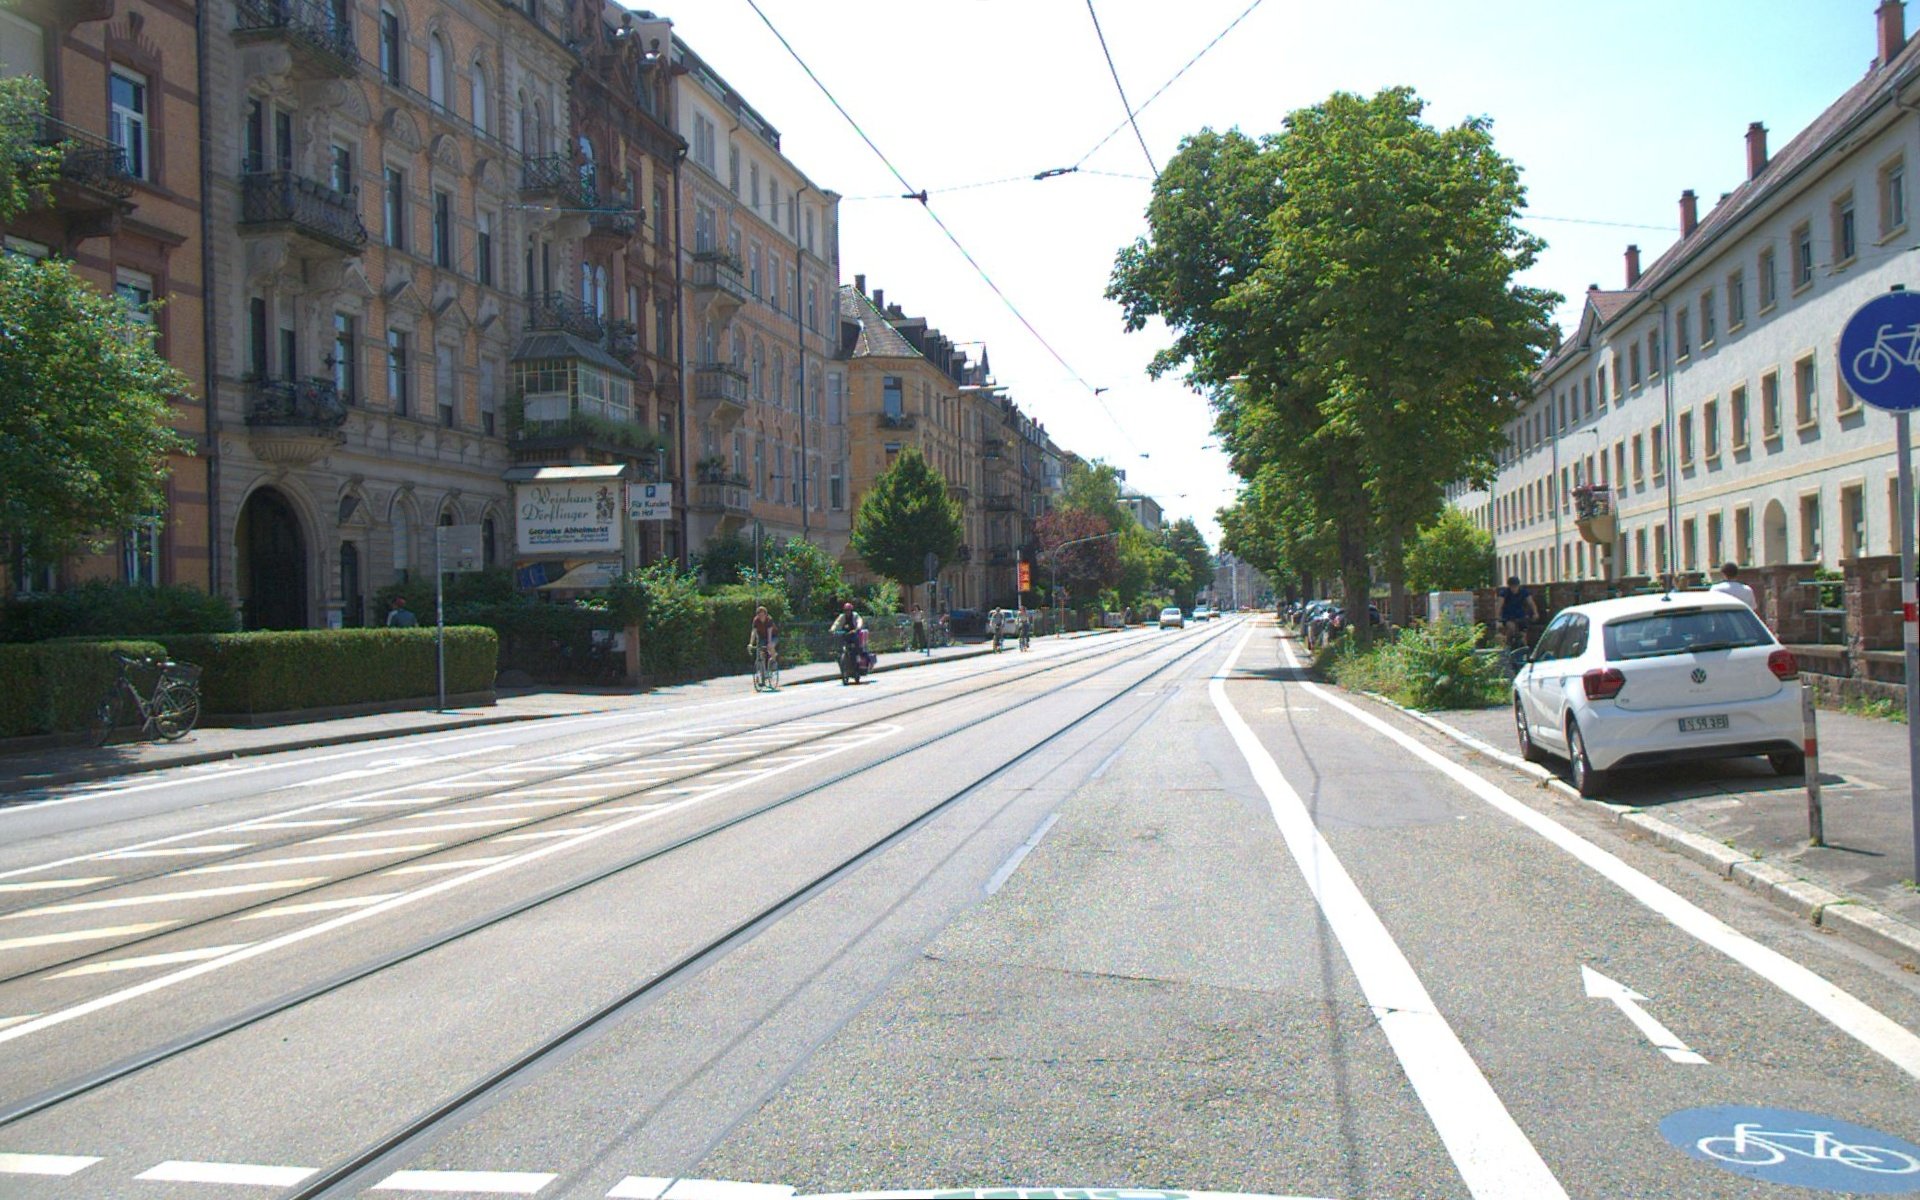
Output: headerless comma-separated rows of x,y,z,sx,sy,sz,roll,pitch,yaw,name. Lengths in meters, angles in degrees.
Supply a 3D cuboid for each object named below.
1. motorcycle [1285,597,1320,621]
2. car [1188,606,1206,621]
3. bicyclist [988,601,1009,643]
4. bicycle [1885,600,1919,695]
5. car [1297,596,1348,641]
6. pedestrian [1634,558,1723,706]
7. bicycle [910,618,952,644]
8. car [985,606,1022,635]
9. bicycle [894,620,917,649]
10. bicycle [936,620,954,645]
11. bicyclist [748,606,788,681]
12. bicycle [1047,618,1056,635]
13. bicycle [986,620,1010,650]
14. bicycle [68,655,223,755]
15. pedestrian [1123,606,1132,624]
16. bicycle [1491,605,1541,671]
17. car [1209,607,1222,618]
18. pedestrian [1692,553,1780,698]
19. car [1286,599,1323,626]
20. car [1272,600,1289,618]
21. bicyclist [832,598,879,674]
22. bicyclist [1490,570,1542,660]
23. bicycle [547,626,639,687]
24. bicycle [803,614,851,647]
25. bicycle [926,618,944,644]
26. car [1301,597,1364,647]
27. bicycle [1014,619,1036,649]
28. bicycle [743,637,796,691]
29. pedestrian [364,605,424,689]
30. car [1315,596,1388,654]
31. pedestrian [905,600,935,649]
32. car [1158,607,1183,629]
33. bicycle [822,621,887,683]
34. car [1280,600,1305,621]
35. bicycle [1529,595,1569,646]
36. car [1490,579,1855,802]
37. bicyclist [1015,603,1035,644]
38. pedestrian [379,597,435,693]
22.898,0.604,110.751,0.860,1.567,2.290,-1,0,-36,motorcycle
25.859,1.466,180.623,1.718,1.449,4.003,-2,-1,11,car
1.506,0.852,64.902,0.620,1.612,1.029,-3,-1,10,bicyclist
11.279,0.542,18.886,0.516,1.082,1.866,-2,0,5,bicycle
14.620,0.709,66.543,1.906,1.679,4.884,-2,0,13,car
8.669,0.383,19.983,0.682,1.698,0.870,-4,-1,9,pedestrian
-1.213,1.329,69.833,1.669,1.055,0.551,-1,0,15,bicycle
2.511,1.163,94.275,1.826,1.628,4.104,0,0,6,car
-2.018,1.283,61.282,0.486,1.004,1.712,2,0,9,bicycle
-0.614,1.346,68.336,0.429,1.000,1.712,-1,0,9,bicycle
-4.022,0.899,34.754,0.550,1.542,0.892,-2,-1,11,bicyclist
5.711,1.653,102.894,0.444,1.021,1.808,-1,0,7,bicycle
1.487,1.356,64.649,0.615,1.097,1.877,-3,0,10,bicycle
-10.049,1.270,20.494,0.624,1.112,1.933,1,0,14,bicycle
15.186,1.361,150.126,0.735,1.657,0.834,-1,-1,6,pedestrian
9.461,0.632,28.211,0.589,1.069,1.824,-2,0,13,bicycle
35.835,1.775,231.749,1.650,1.480,3.751,-1,-1,10,car
9.512,0.305,20.305,0.682,1.698,0.757,-4,-1,9,pedestrian
19.898,0.709,95.596,1.731,1.451,4.866,-2,0,8,car
39.662,1.095,204.651,1.950,2.071,4.701,-2,0,10,car
-2.354,0.807,37.190,0.790,1.658,0.981,-2,-1,11,bicyclist
9.447,0.256,28.134,0.696,1.477,1.011,-2,0,13,bicyclist
-7.806,1.189,35.206,1.830,1.249,0.569,0,0,8,bicycle
-4.396,1.008,54.831,1.477,1.062,0.495,-2,0,12,bicycle
-0.996,1.241,66.329,0.429,1.000,1.712,-1,0,9,bicycle
12.550,0.713,55.920,1.695,1.579,4.457,-2,0,9,car
2.564,1.327,64.921,0.569,1.097,1.892,-3,0,10,bicycle
-4.003,1.325,34.788,0.555,1.056,1.830,-2,0,11,bicycle
-11.898,0.984,34.787,0.893,1.730,0.820,-2,-1,38,pedestrian
11.199,0.691,47.499,1.621,1.541,4.003,-2,0,8,car
-1.481,0.898,61.346,0.833,1.753,1.139,1,0,11,pedestrian
15.490,1.306,121.630,1.649,1.475,4.003,-2,0,10,car
-2.346,1.156,37.183,0.790,1.294,2.553,-2,0,11,bicycle
26.519,0.852,132.006,1.736,1.527,4.309,-3,0,9,car
15.122,0.508,42.503,0.584,1.230,1.971,-4,-1,10,bicycle
5.770,0.664,13.959,1.740,1.434,4.160,-6,-1,9,car
2.545,0.901,64.943,0.580,1.571,0.953,-3,-1,10,bicyclist
-11.173,0.893,33.411,0.808,1.889,0.866,-1,-1,-37,pedestrian
